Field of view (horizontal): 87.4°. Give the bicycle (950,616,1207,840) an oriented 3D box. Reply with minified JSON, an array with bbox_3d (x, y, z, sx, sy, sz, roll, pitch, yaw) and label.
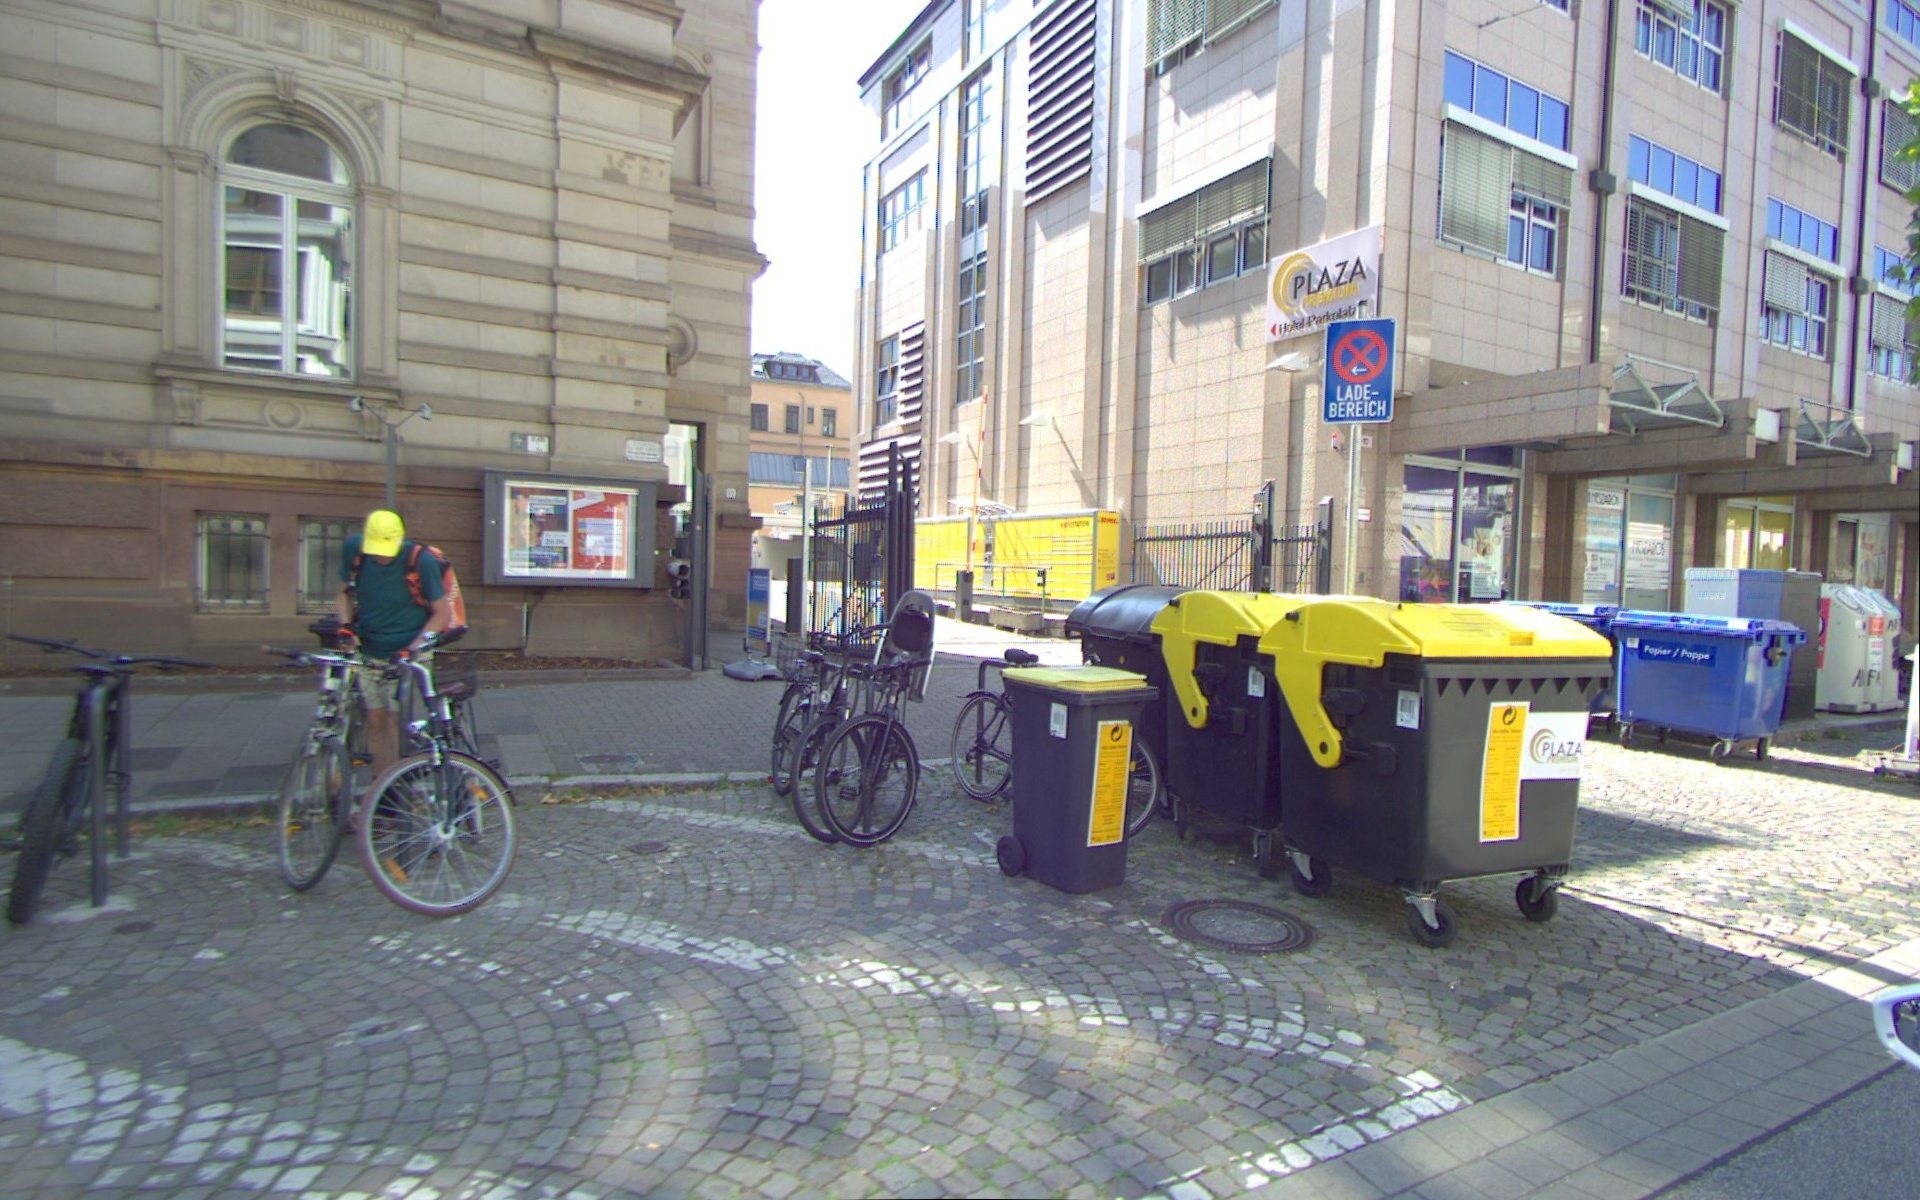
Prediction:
[{"bbox_3d":[0.680,0.733,6.539,0.503,1.135,1.956,2,2,-32],"label":"bicycle"}]

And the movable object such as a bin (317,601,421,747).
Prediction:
[{"bbox_3d":[-3.888,0.464,6.597,0.506,0.888,0.650,2,1,-37],"label":"movable object such as a bin"}]

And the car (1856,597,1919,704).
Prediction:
[{"bbox_3d":[14.764,0.802,13.755,1.896,1.515,4.059,1,2,12],"label":"car"}]

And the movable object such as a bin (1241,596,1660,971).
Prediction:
[{"bbox_3d":[2.314,0.744,4.854,1.418,1.470,1.121,0,4,-23],"label":"movable object such as a bin"}]

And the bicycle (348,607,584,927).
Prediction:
[{"bbox_3d":[-2.576,0.685,5.071,0.552,1.135,2.217,1,3,-40],"label":"bicycle"}]

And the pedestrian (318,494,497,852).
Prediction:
[{"bbox_3d":[-3.019,0.347,5.461,0.741,1.748,0.883,1,2,-35],"label":"pedestrian"}]

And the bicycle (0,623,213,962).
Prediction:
[{"bbox_3d":[-3.782,0.702,4.437,0.665,1.031,1.946,1,3,-40],"label":"bicycle"}]

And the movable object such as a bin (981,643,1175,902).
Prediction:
[{"bbox_3d":[0.588,0.821,5.114,0.650,1.113,0.717,-1,4,-36],"label":"movable object such as a bin"}]

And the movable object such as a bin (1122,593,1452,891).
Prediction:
[{"bbox_3d":[1.876,0.721,5.892,1.418,1.470,1.121,0,4,-23],"label":"movable object such as a bin"}]

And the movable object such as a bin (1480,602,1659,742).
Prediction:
[{"bbox_3d":[6.517,0.716,10.782,1.113,1.317,1.203,-1,4,-29],"label":"movable object such as a bin"}]

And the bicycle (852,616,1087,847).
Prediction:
[{"bbox_3d":[-0.024,0.752,6.544,0.503,1.135,1.963,2,3,-32],"label":"bicycle"}]

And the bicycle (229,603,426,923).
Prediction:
[{"bbox_3d":[-3.138,0.656,4.891,0.552,1.135,1.943,1,3,-40],"label":"bicycle"}]

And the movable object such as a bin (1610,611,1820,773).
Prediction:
[{"bbox_3d":[7.138,0.814,9.539,1.066,1.317,1.203,-1,4,-29],"label":"movable object such as a bin"}]

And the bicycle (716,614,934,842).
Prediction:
[{"bbox_3d":[-0.891,0.689,6.110,0.551,1.087,1.833,3,0,-32],"label":"bicycle"}]

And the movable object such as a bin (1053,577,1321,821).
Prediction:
[{"bbox_3d":[1.541,0.602,7.011,1.344,1.470,1.206,0,4,-23],"label":"movable object such as a bin"}]
